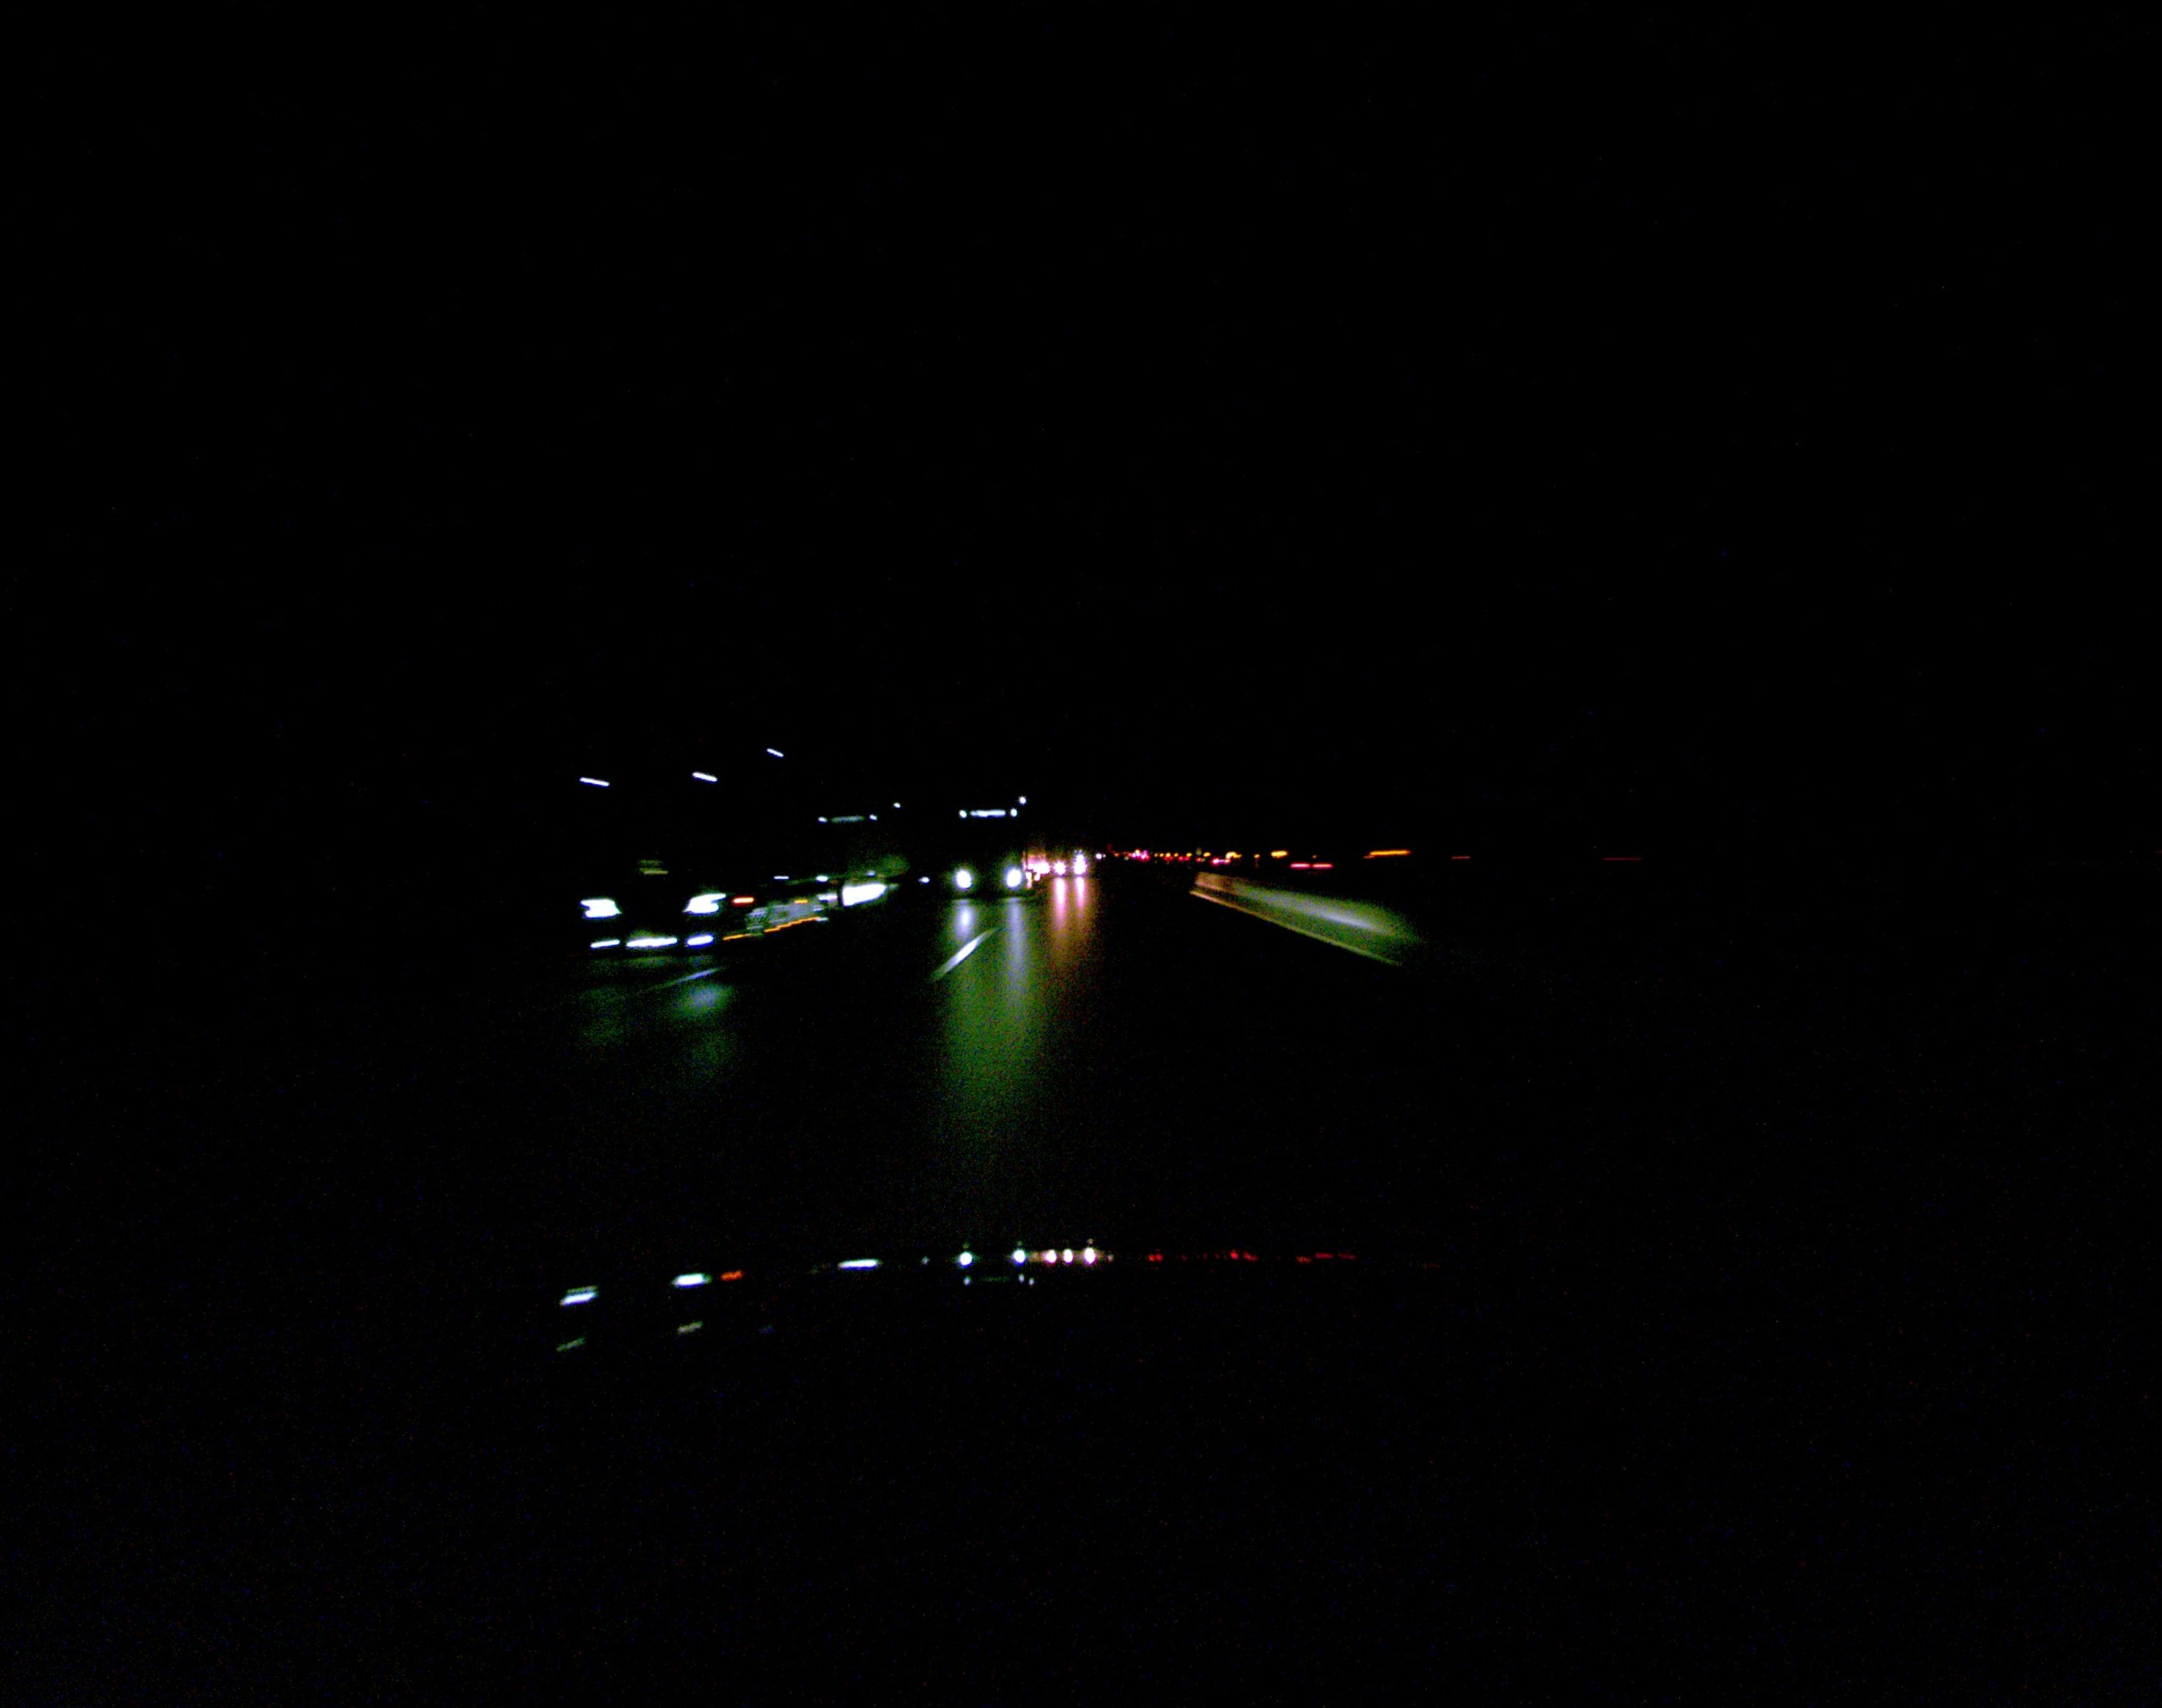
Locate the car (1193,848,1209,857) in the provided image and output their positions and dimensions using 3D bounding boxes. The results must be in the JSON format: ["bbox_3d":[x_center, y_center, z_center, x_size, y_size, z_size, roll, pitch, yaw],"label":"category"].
[{"bbox_3d":[18.471,-0.219,117.008,1.666,1.326,4.809,-3,1,2],"label":"car"}]

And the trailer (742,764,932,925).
[{"bbox_3d":[-7.277,-0.281,24.623,2.597,4.049,10.007,-3,1,1],"label":"trailer"}]

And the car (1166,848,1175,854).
[{"bbox_3d":[22.076,-0.749,187.895,1.754,1.470,4.481,0,1,2],"label":"car"}]

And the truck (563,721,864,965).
[{"bbox_3d":[-7.372,-0.212,16.808,2.597,4.049,7.673,-3,1,1],"label":"truck"}]

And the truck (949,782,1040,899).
[{"bbox_3d":[-3.365,-0.517,31.403,2.668,4.182,6.722,-3,1,1],"label":"truck"}]

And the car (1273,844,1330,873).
[{"bbox_3d":[12.150,0.219,42.217,1.755,1.470,4.581,0,1,-1],"label":"car"}]

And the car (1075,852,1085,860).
[{"bbox_3d":[-0.179,0.395,185.964,2.267,1.842,5.403,-3,1,0],"label":"car"}]

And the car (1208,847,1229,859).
[{"bbox_3d":[15.987,-0.137,88.519,1.635,1.386,4.877,0,1,0],"label":"car"}]

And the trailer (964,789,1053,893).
[{"bbox_3d":[-3.265,-0.599,38.236,2.749,4.182,13.509,-3,1,1],"label":"trailer"}]

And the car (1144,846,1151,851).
[{"bbox_3d":[20.173,-1.654,232.313,1.754,1.470,4.942,0,1,1],"label":"car"}]

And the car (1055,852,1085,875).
[{"bbox_3d":[-0.831,0.632,53.981,1.826,1.458,4.246,-3,1,-4],"label":"car"}]

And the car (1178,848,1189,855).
[{"bbox_3d":[20.893,-0.545,154.927,1.754,1.470,4.726,0,1,3],"label":"car"}]
